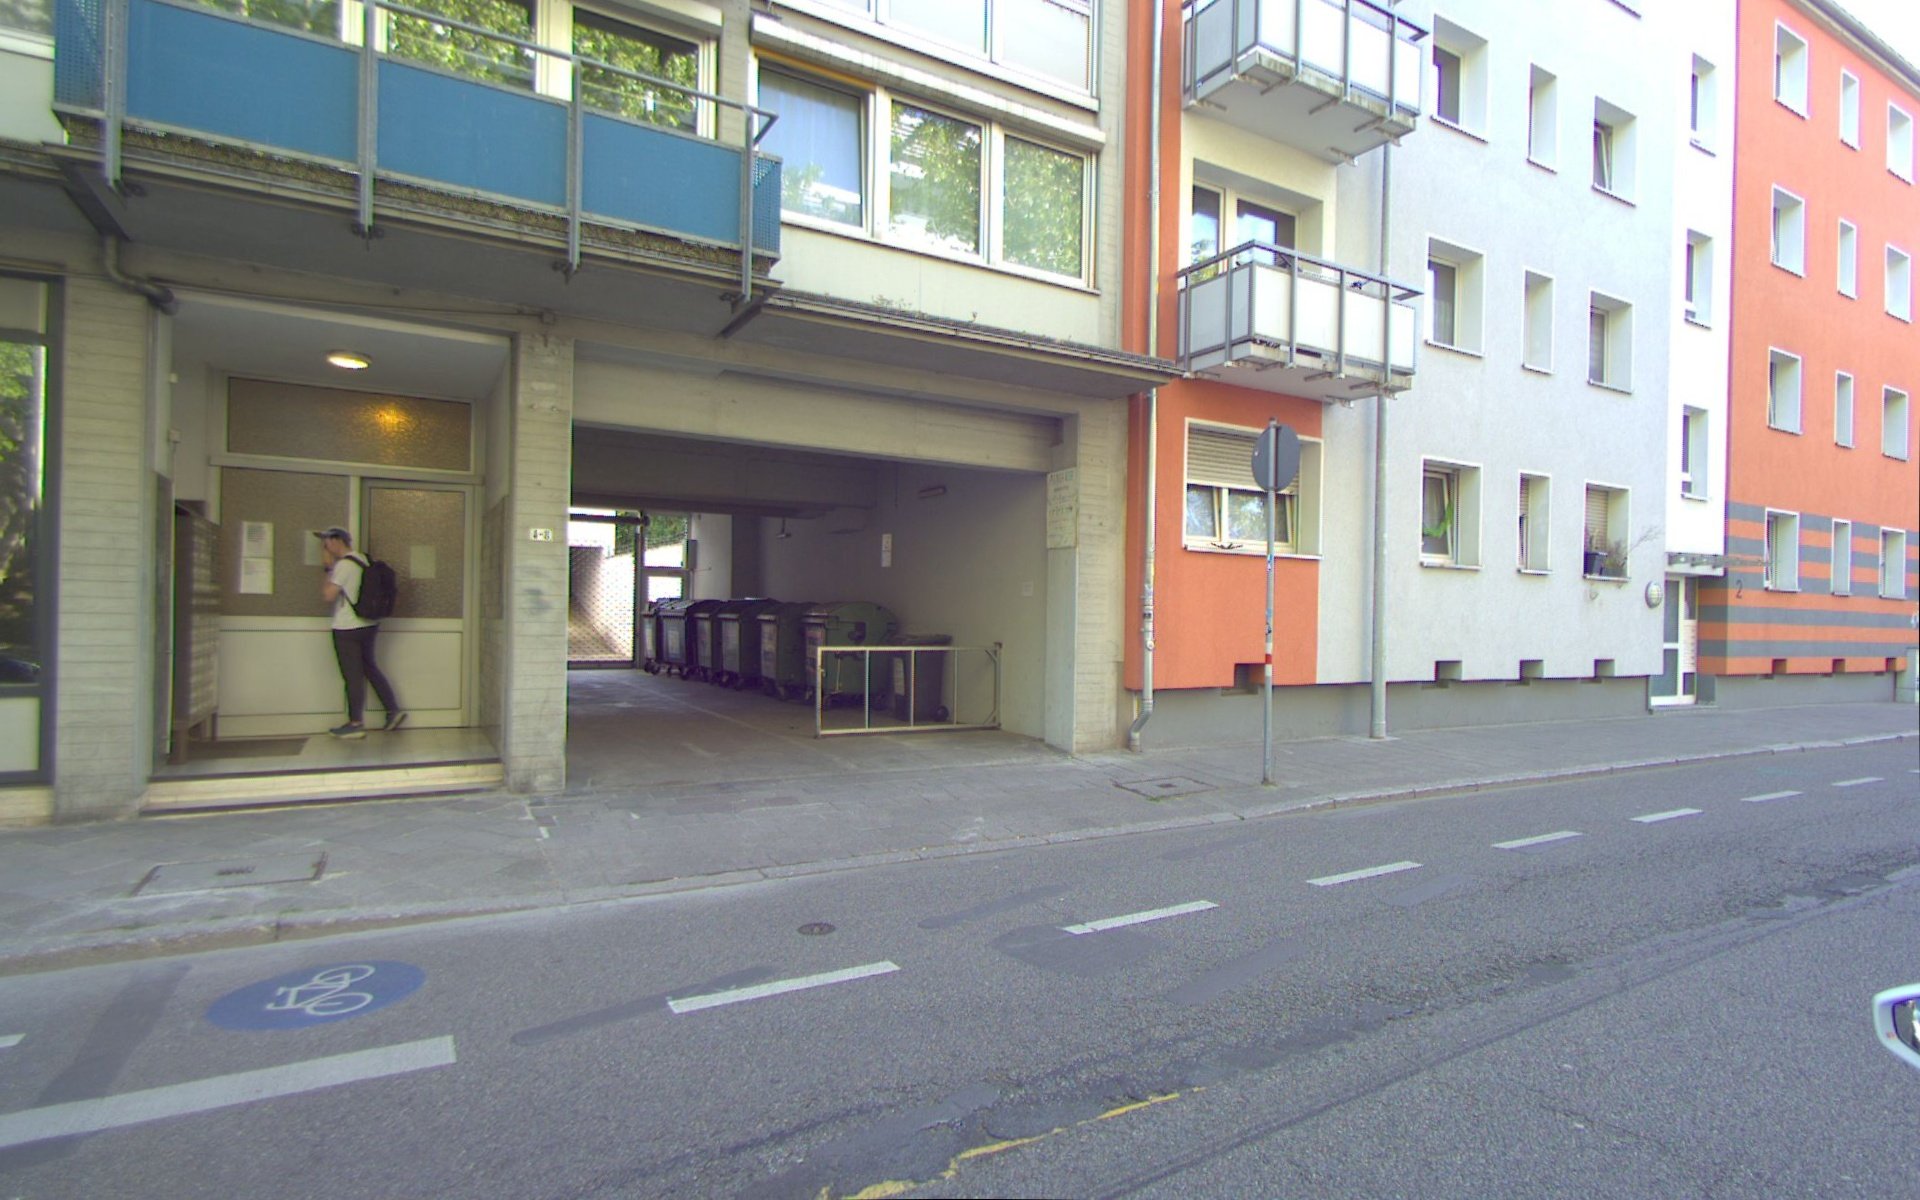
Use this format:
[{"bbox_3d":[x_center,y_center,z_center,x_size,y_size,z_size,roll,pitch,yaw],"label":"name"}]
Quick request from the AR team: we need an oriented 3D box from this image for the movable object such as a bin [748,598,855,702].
[{"bbox_3d":[-2.403,0.723,15.129,1.186,1.467,1.319,2,0,-30],"label":"movable object such as a bin"}]

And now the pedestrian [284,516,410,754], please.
[{"bbox_3d":[-5.205,0.286,8.531,0.781,1.904,0.574,2,0,-43],"label":"pedestrian"}]

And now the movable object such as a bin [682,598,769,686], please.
[{"bbox_3d":[-4.141,0.722,17.704,1.186,1.467,1.114,2,0,-30],"label":"movable object such as a bin"}]

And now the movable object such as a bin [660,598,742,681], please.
[{"bbox_3d":[-4.840,0.724,18.747,1.186,1.467,1.222,2,0,-30],"label":"movable object such as a bin"}]

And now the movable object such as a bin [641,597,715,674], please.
[{"bbox_3d":[-5.616,0.688,19.976,1.186,1.467,1.027,2,0,-30],"label":"movable object such as a bin"}]

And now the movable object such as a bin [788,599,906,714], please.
[{"bbox_3d":[-1.563,0.742,13.796,1.159,1.467,1.319,2,0,-30],"label":"movable object such as a bin"}]

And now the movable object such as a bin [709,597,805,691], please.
[{"bbox_3d":[-3.370,0.701,16.614,1.186,1.467,1.319,2,0,-30],"label":"movable object such as a bin"}]

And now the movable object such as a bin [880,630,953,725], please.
[{"bbox_3d":[-0.536,0.942,12.404,0.745,1.116,0.463,2,0,-30],"label":"movable object such as a bin"}]
